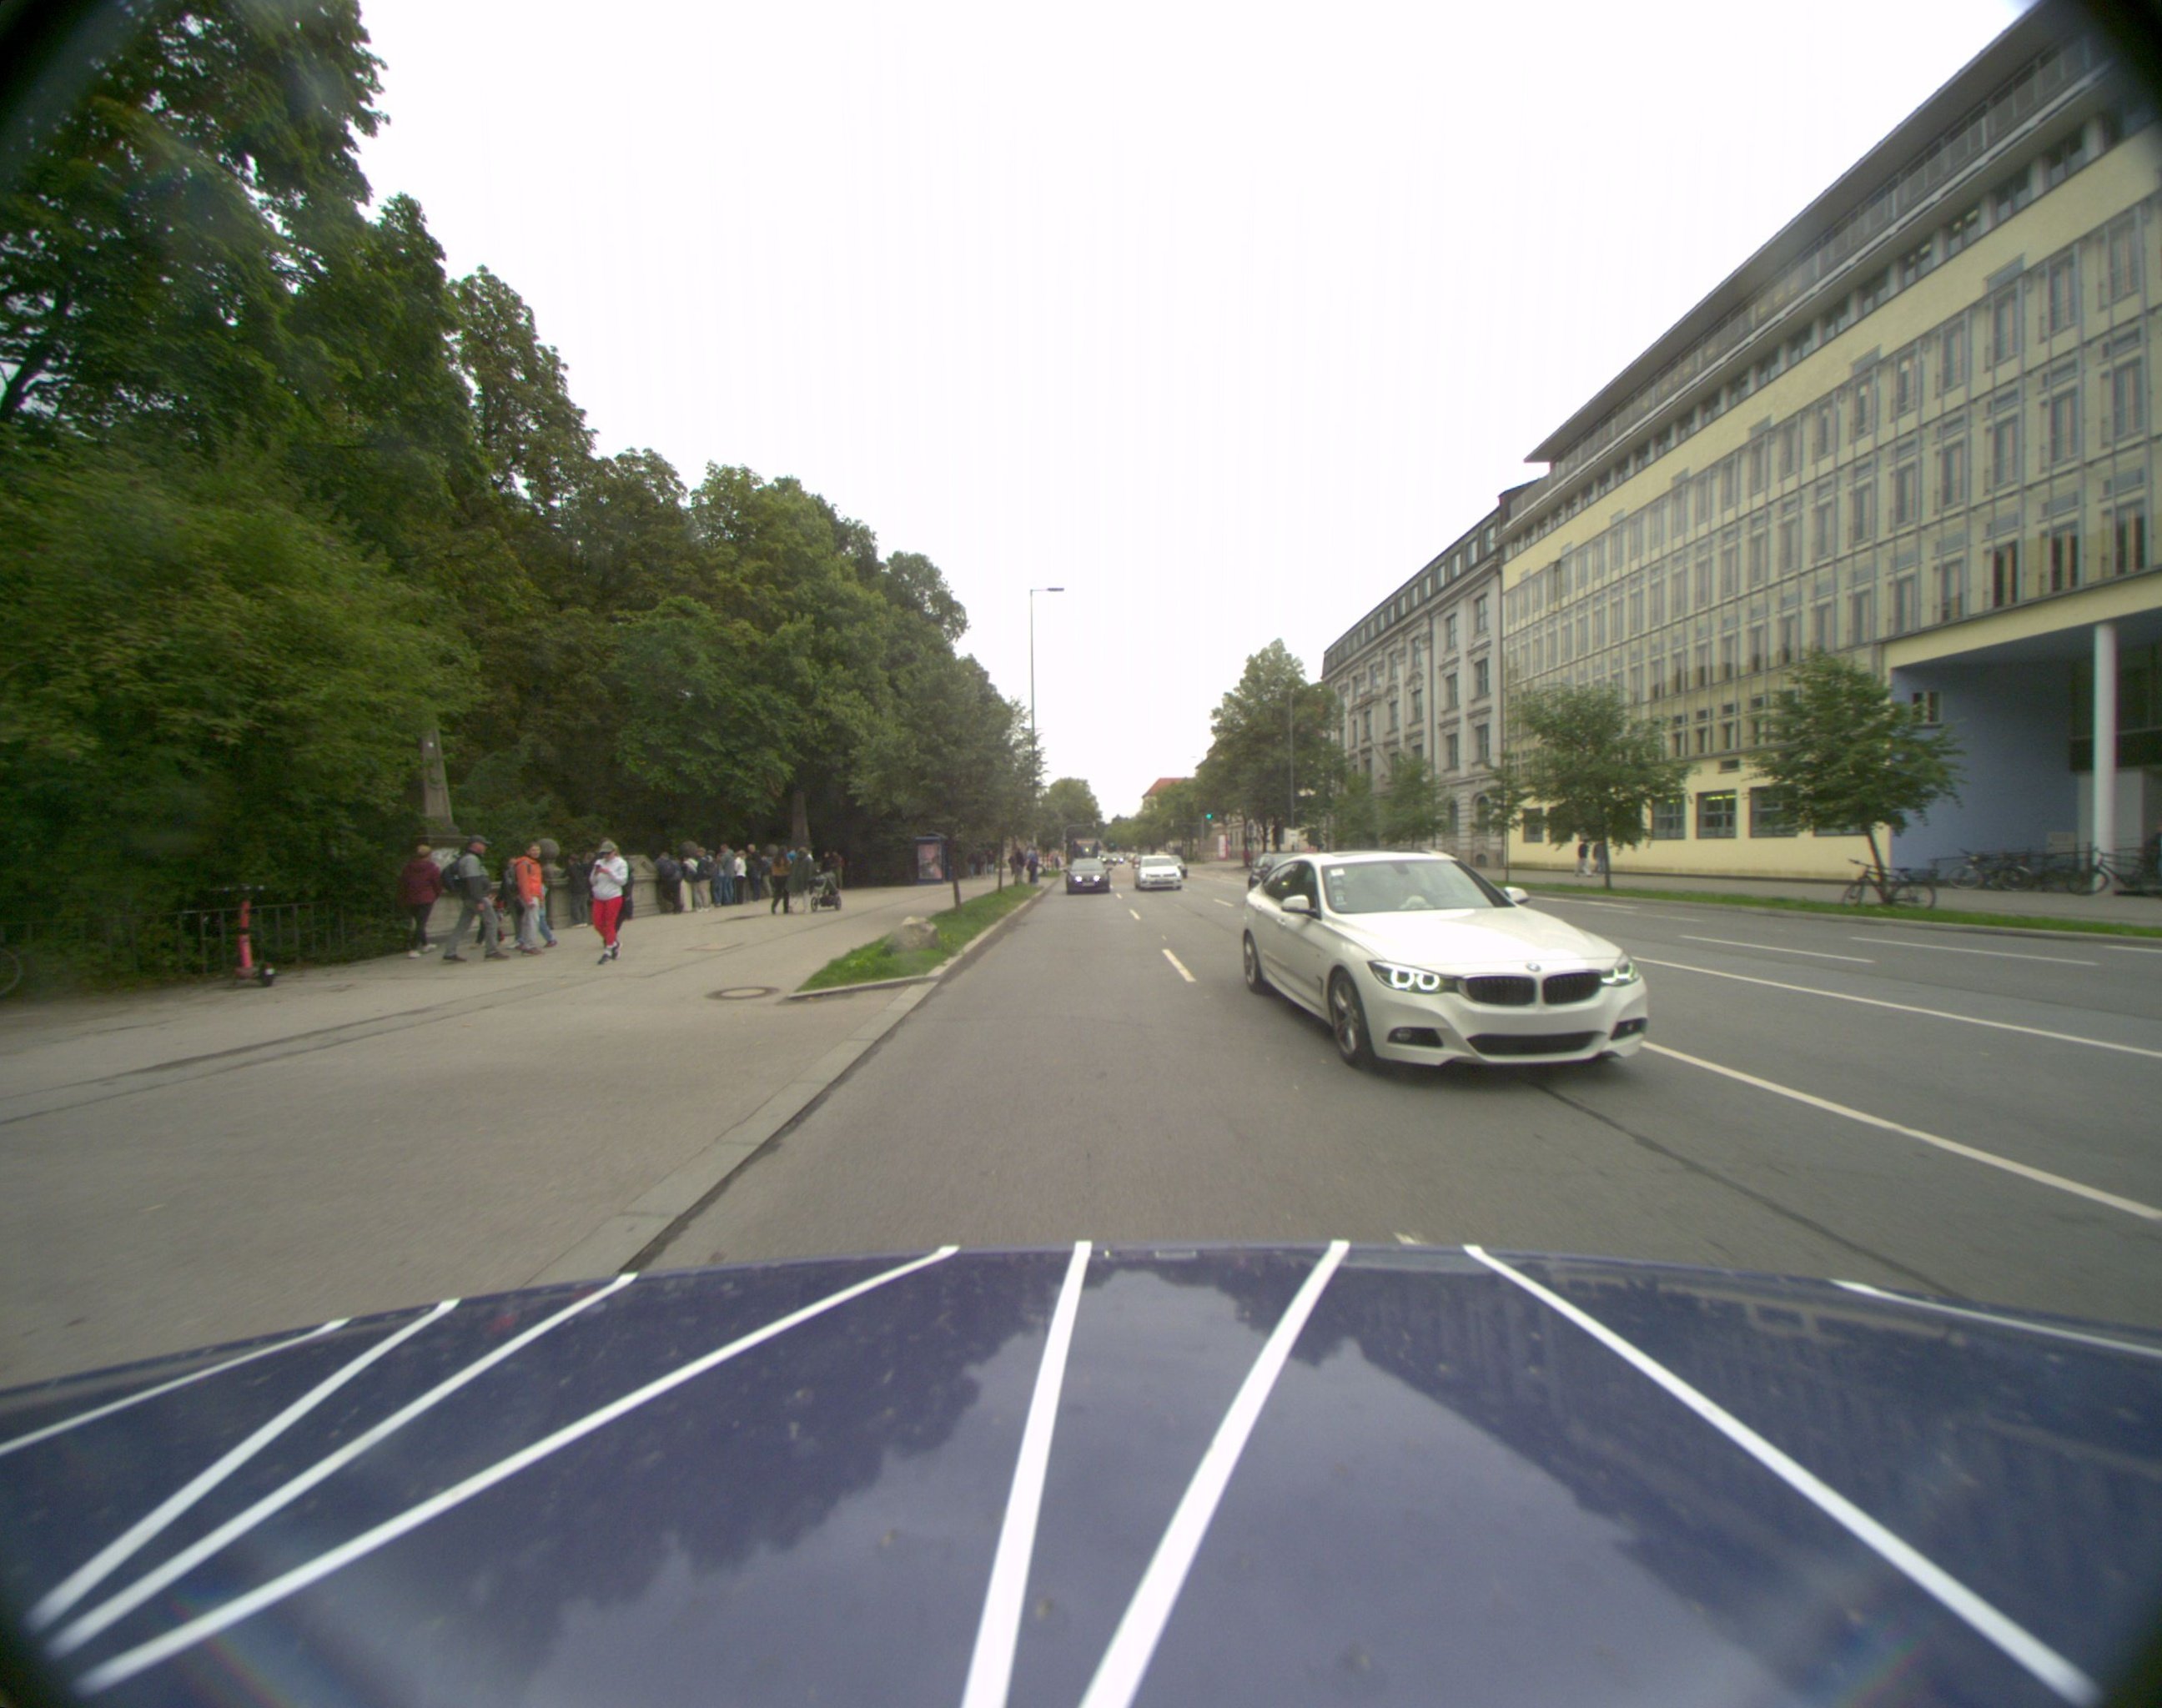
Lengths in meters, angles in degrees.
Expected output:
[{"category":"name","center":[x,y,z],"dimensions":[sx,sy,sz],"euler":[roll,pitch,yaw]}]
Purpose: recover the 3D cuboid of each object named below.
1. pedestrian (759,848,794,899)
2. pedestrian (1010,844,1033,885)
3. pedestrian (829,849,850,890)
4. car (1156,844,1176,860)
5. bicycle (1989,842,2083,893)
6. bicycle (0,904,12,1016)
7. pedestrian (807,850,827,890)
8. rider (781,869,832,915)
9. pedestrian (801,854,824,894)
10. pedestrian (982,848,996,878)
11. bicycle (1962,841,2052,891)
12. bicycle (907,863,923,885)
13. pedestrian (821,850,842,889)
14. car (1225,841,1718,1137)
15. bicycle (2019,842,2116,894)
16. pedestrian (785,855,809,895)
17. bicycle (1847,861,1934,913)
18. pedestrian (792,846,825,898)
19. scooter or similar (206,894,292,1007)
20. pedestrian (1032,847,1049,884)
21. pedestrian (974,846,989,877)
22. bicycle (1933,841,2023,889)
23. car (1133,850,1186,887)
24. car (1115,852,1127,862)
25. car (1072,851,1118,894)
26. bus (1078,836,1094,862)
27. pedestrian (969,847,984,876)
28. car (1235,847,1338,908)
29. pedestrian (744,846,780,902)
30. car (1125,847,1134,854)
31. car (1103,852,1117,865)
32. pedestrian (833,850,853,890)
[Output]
[{"category":"pedestrian","center":[-10.627,0.672,26.532],"dimensions":[0.814,1.758,0.729],"euler":[-2,1,3]},{"category":"pedestrian","center":[-2.782,0.493,35.560],"dimensions":[0.804,1.870,0.545],"euler":[-1,1,37]},{"category":"pedestrian","center":[-10.499,0.661,33.005],"dimensions":[0.637,1.758,0.533],"euler":[-2,1,3]},{"category":"car","center":[9.768,-0.230,88.068],"dimensions":[1.862,1.738,4.629],"euler":[1,0,1]},{"category":"bicycle","center":[26.275,0.367,20.913],"dimensions":[2.014,1.311,0.574],"euler":[-2,1,-5]},{"category":"bicycle","center":[-12.642,1.198,7.978],"dimensions":[1.602,1.232,0.391],"euler":[-3,1,-27]},{"category":"pedestrian","center":[-11.911,0.703,34.264],"dimensions":[0.637,1.758,0.533],"euler":[-2,1,3]},{"category":"rider","center":[-7.224,0.977,20.030],"dimensions":[0.766,1.106,1.244],"euler":[-2,1,6]},{"category":"pedestrian","center":[-10.385,0.774,29.379],"dimensions":[0.637,1.499,0.533],"euler":[-2,1,3]},{"category":"pedestrian","center":[-5.702,0.536,46.985],"dimensions":[0.710,1.798,0.639],"euler":[-2,1,0]},{"category":"bicycle","center":[26.210,0.325,21.519],"dimensions":[2.014,1.311,0.574],"euler":[-2,1,-5]},{"category":"bicycle","center":[-8.257,0.998,37.887],"dimensions":[0.394,1.054,1.576],"euler":[-2,0,0]},{"category":"pedestrian","center":[-10.583,0.672,32.281],"dimensions":[0.637,1.617,0.533],"euler":[-2,1,3]},{"category":"car","center":[2.646,0.718,6.734],"dimensions":[1.797,1.627,5.025],"euler":[-1,1,0]},{"category":"bicycle","center":[26.335,0.363,20.289],"dimensions":[2.014,1.311,0.574],"euler":[-2,1,-5]},{"category":"pedestrian","center":[-10.769,0.793,28.822],"dimensions":[0.637,1.499,0.533],"euler":[-2,1,3]},{"category":"bicycle","center":[16.907,0.673,15.901],"dimensions":[0.281,1.007,1.384],"euler":[-2,1,-3]},{"category":"pedestrian","center":[-9.798,0.646,27.376],"dimensions":[0.814,1.818,0.729],"euler":[-2,1,3]},{"category":"scooter or similar","center":[-9.969,1.116,9.091],"dimensions":[1.563,1.249,0.349],"euler":[-2,1,31]},{"category":"pedestrian","center":[-2.013,0.563,37.790],"dimensions":[0.710,1.798,0.639],"euler":[-2,1,0]},{"category":"pedestrian","center":[-6.102,0.445,46.813],"dimensions":[0.710,1.904,0.956],"euler":[-2,1,0]},{"category":"bicycle","center":[26.197,0.304,22.201],"dimensions":[2.014,1.311,0.638],"euler":[-2,1,-5]},{"category":"car","center":[3.272,0.567,32.404],"dimensions":[1.797,1.439,4.274],"euler":[-1,1,0]},{"category":"car","center":[6.170,0.460,116.482],"dimensions":[1.638,1.562,3.945],"euler":[-1,0,1]},{"category":"car","center":[0.542,0.725,32.078],"dimensions":[1.797,1.627,4.274],"euler":[-1,1,0]},{"category":"bus","center":[0.528,-0.496,79.556],"dimensions":[1.638,2.570,6.701],"euler":[-1,0,1]},{"category":"pedestrian","center":[-6.556,0.456,47.543],"dimensions":[0.710,1.798,0.950],"euler":[-2,1,0]},{"category":"car","center":[5.631,0.578,21.383],"dimensions":[1.696,1.507,4.338],"euler":[-1,1,0]},{"category":"pedestrian","center":[-10.837,0.666,25.804],"dimensions":[0.814,1.841,0.729],"euler":[-2,1,3]},{"category":"car","center":[12.004,-0.923,188.470],"dimensions":[1.748,1.586,4.000],"euler":[1,0,0]},{"category":"car","center":[3.647,0.595,97.083],"dimensions":[1.638,1.562,3.945],"euler":[-1,0,1]},{"category":"pedestrian","center":[-10.631,0.725,33.971],"dimensions":[0.637,1.758,0.533],"euler":[-2,1,3]}]
